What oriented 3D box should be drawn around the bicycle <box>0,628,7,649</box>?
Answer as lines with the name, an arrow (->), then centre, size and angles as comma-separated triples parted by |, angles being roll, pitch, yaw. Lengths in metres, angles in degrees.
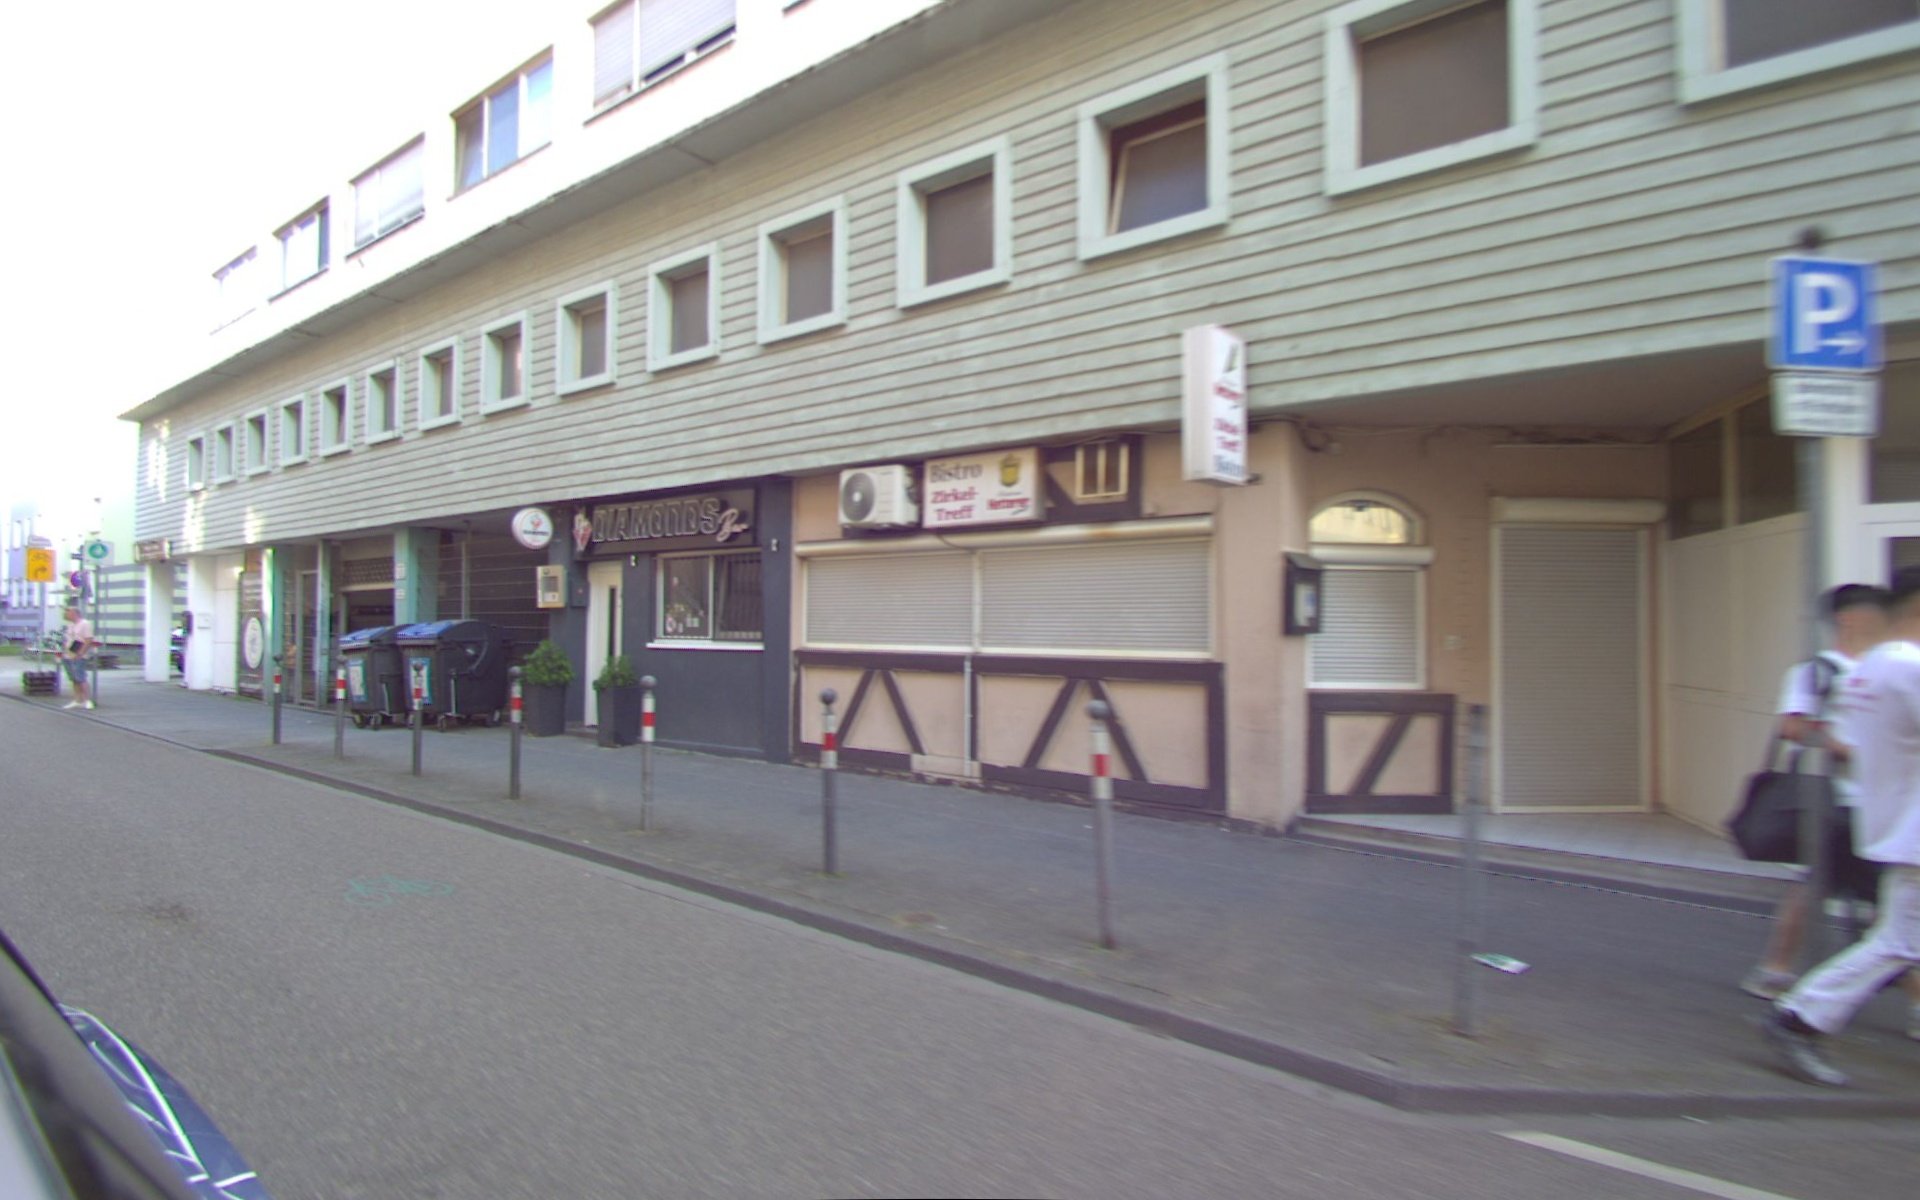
bicycle -> -45.027, 1.819, 46.443 | 0.388, 0.953, 1.782 | -1, 2, 37

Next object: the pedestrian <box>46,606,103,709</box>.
pedestrian -> -14.848, 0.950, 16.977 | 0.624, 1.682, 0.489 | -1, 0, 25

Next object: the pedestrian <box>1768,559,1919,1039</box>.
pedestrian -> 3.621, 0.707, 3.792 | 0.894, 1.682, 0.666 | -1, -3, 40

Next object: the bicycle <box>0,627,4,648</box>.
bicycle -> -45.900, 1.812, 47.367 | 0.388, 0.953, 1.638 | -1, 2, 37

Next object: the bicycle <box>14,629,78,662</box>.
bicycle -> -34.648, 1.705, 38.372 | 0.387, 1.109, 1.721 | -1, 2, 30

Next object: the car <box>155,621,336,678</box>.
car -> -20.360, 1.377, 28.975 | 1.689, 1.531, 3.896 | -1, -2, 36

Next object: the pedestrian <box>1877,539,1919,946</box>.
pedestrian -> 4.710, 0.611, 4.341 | 1.062, 1.742, 0.804 | 1, -2, -27

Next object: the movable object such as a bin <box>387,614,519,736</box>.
movable object such as a bin -> -6.811, 0.975, 13.599 | 1.340, 1.532, 1.111 | -2, -3, 38

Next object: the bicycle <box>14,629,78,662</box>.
bicycle -> -34.918, 1.732, 38.684 | 0.387, 1.109, 1.721 | -1, 2, 30

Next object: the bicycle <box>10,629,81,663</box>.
bicycle -> -33.679, 1.674, 37.278 | 0.748, 1.109, 1.799 | -1, 2, 37

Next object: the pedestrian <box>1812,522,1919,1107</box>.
pedestrian -> 3.247, 0.650, 3.190 | 0.828, 1.748, 0.691 | -1, -3, 40

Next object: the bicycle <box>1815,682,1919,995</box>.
bicycle -> 4.680, 0.955, 4.316 | 2.098, 1.172, 0.826 | 1, -2, -27

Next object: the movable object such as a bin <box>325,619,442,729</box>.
movable object such as a bin -> -8.229, 1.033, 14.442 | 1.472, 1.483, 0.959 | -3, -3, 38

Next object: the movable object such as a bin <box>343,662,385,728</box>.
movable object such as a bin -> -8.943, 1.416, 15.182 | 0.466, 0.949, 0.389 | -2, -3, 38
